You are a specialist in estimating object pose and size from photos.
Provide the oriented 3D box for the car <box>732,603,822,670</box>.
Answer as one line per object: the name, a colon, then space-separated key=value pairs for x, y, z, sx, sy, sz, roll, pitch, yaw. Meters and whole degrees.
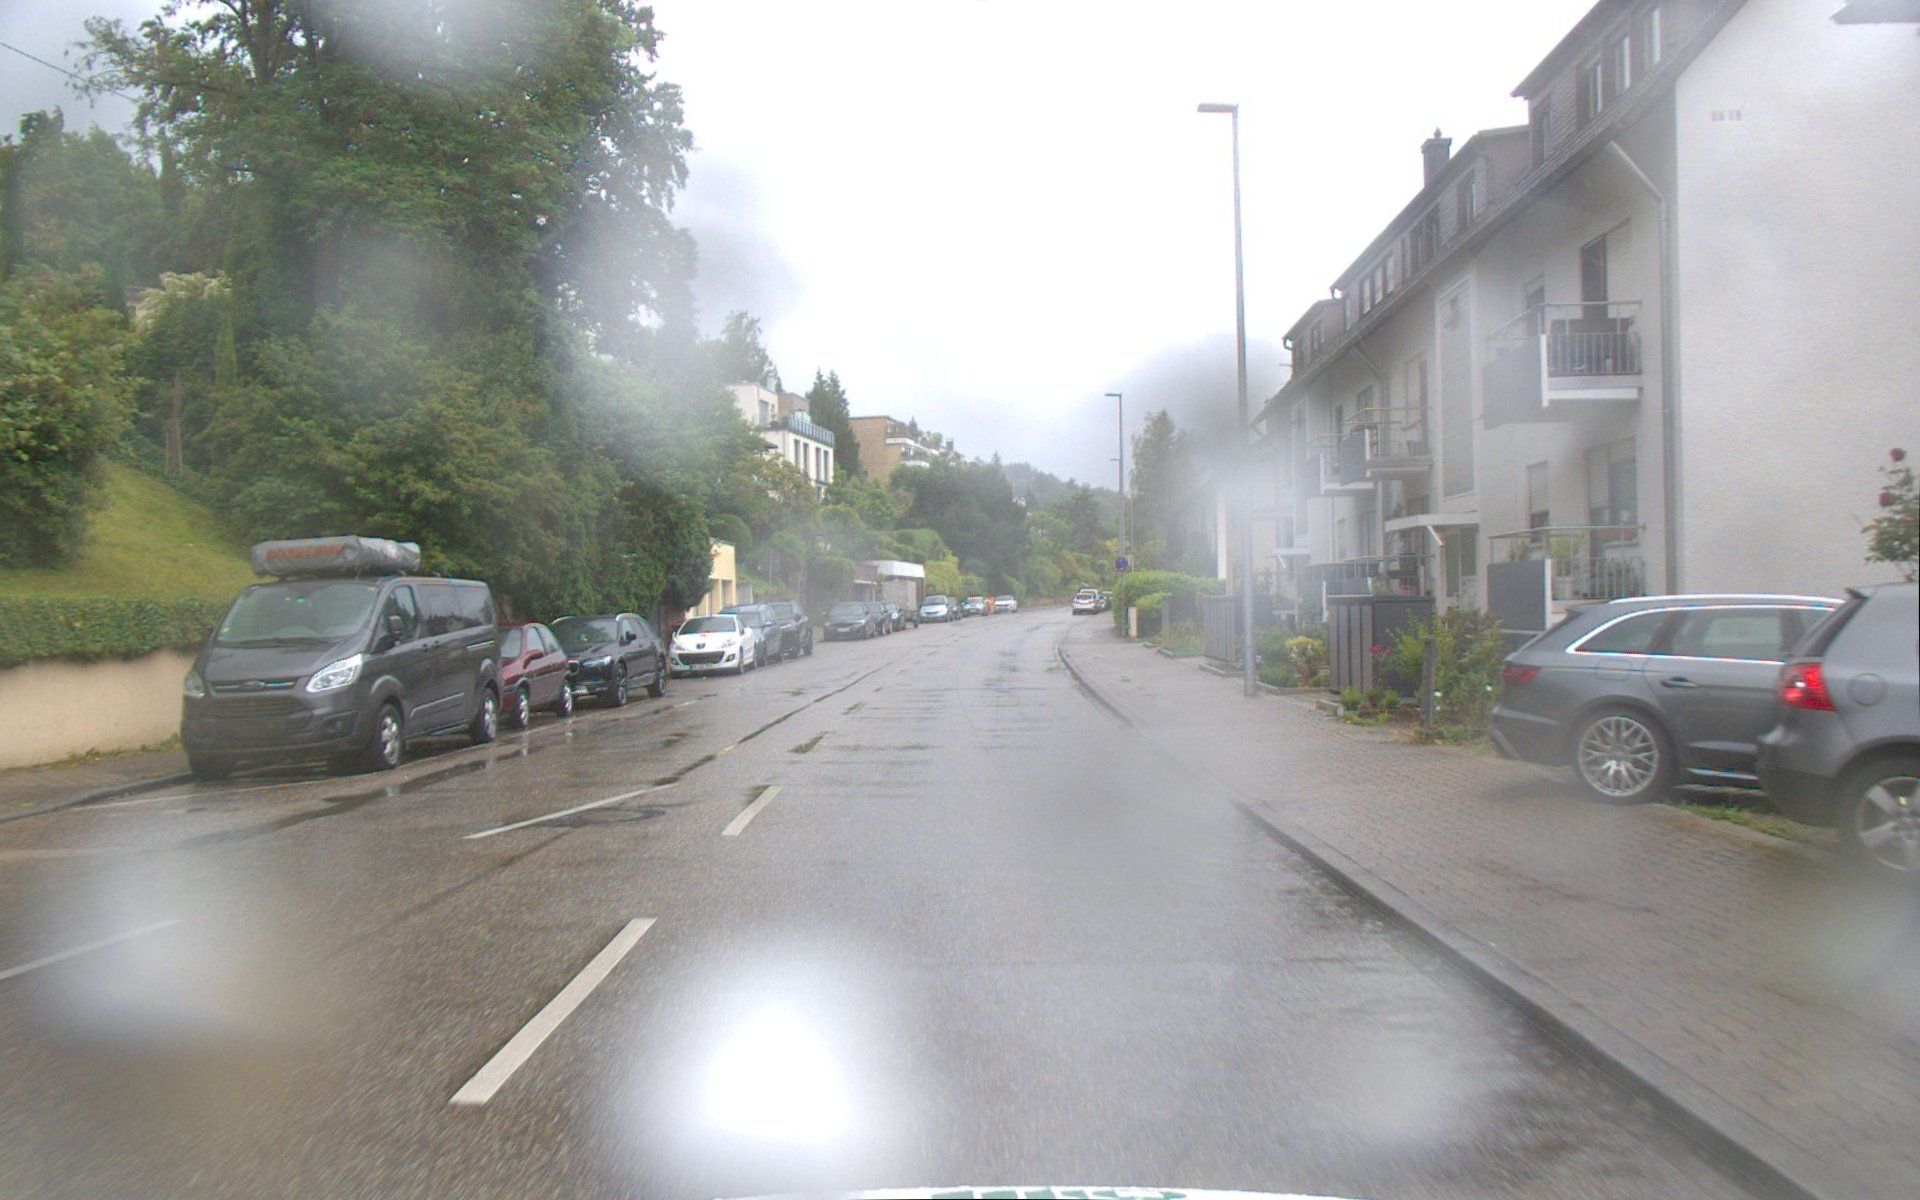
car: x=-5.436 y=1.048 z=49.709 sx=1.835 sy=1.653 sz=4.595 roll=-5 pitch=1 yaw=3

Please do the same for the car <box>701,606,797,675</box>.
car: x=-5.667 y=1.067 z=44.879 sx=1.705 sy=1.588 sz=4.111 roll=-4 pitch=0 yaw=4

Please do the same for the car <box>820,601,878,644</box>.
car: x=-4.494 y=0.875 z=67.608 sx=1.749 sy=1.480 sz=4.757 roll=-5 pitch=1 yaw=3

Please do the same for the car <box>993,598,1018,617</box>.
car: x=3.952 y=0.644 z=141.806 sx=1.719 sy=1.524 sz=4.223 roll=-3 pitch=0 yaw=6

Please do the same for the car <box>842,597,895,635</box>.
car: x=-4.037 y=0.693 z=73.447 sx=1.748 sy=1.439 sz=4.220 roll=-4 pitch=1 yaw=4

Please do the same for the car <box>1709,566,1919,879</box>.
car: x=5.940 y=0.546 z=8.055 sx=3.917 sy=1.482 sz=1.767 roll=-2 pitch=1 yaw=34

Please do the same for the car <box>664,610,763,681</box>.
car: x=-5.857 y=1.049 z=39.733 sx=1.681 sy=1.389 sz=4.083 roll=-4 pitch=1 yaw=0

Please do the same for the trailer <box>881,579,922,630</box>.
trailer: x=-3.016 y=0.212 z=85.833 sx=1.504 sy=2.441 sz=3.075 roll=-4 pitch=0 yaw=8

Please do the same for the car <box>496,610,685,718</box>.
car: x=-6.201 y=1.027 z=28.355 sx=1.869 sy=1.506 sz=4.757 roll=-5 pitch=0 yaw=3

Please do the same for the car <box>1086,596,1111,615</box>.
car: x=11.222 y=0.465 z=133.664 sx=1.673 sy=1.427 sz=4.207 roll=-2 pitch=0 yaw=9

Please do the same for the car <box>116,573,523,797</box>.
car: x=-6.592 y=0.779 z=17.855 sx=2.114 sy=1.952 sz=5.324 roll=-3 pitch=0 yaw=1

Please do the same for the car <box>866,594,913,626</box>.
car: x=-3.409 y=0.475 z=80.262 sx=1.770 sy=1.372 sz=3.778 roll=-4 pitch=1 yaw=4

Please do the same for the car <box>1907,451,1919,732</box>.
car: x=11.788 y=-0.079 z=15.758 sx=4.368 sy=2.807 sz=2.007 roll=-1 pitch=3 yaw=0

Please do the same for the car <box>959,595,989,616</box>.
car: x=1.055 y=0.402 z=122.831 sx=1.719 sy=1.426 sz=3.773 roll=-5 pitch=0 yaw=6

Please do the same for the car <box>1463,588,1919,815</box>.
car: x=5.869 y=0.636 z=11.279 sx=4.292 sy=1.388 sz=1.913 roll=-2 pitch=-1 yaw=34

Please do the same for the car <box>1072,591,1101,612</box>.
car: x=9.418 y=0.093 z=122.612 sx=1.751 sy=1.485 sz=4.312 roll=-2 pitch=0 yaw=9

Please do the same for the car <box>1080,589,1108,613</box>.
car: x=10.364 y=0.071 z=127.943 sx=1.746 sy=1.821 sz=4.365 roll=-2 pitch=0 yaw=9

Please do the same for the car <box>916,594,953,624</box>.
car: x=-1.527 y=0.511 z=100.141 sx=1.719 sy=1.565 sz=3.759 roll=-5 pitch=1 yaw=5

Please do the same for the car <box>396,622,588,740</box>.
car: x=-6.531 y=1.081 z=23.484 sx=1.532 sy=1.388 sz=3.907 roll=-4 pitch=0 yaw=0
